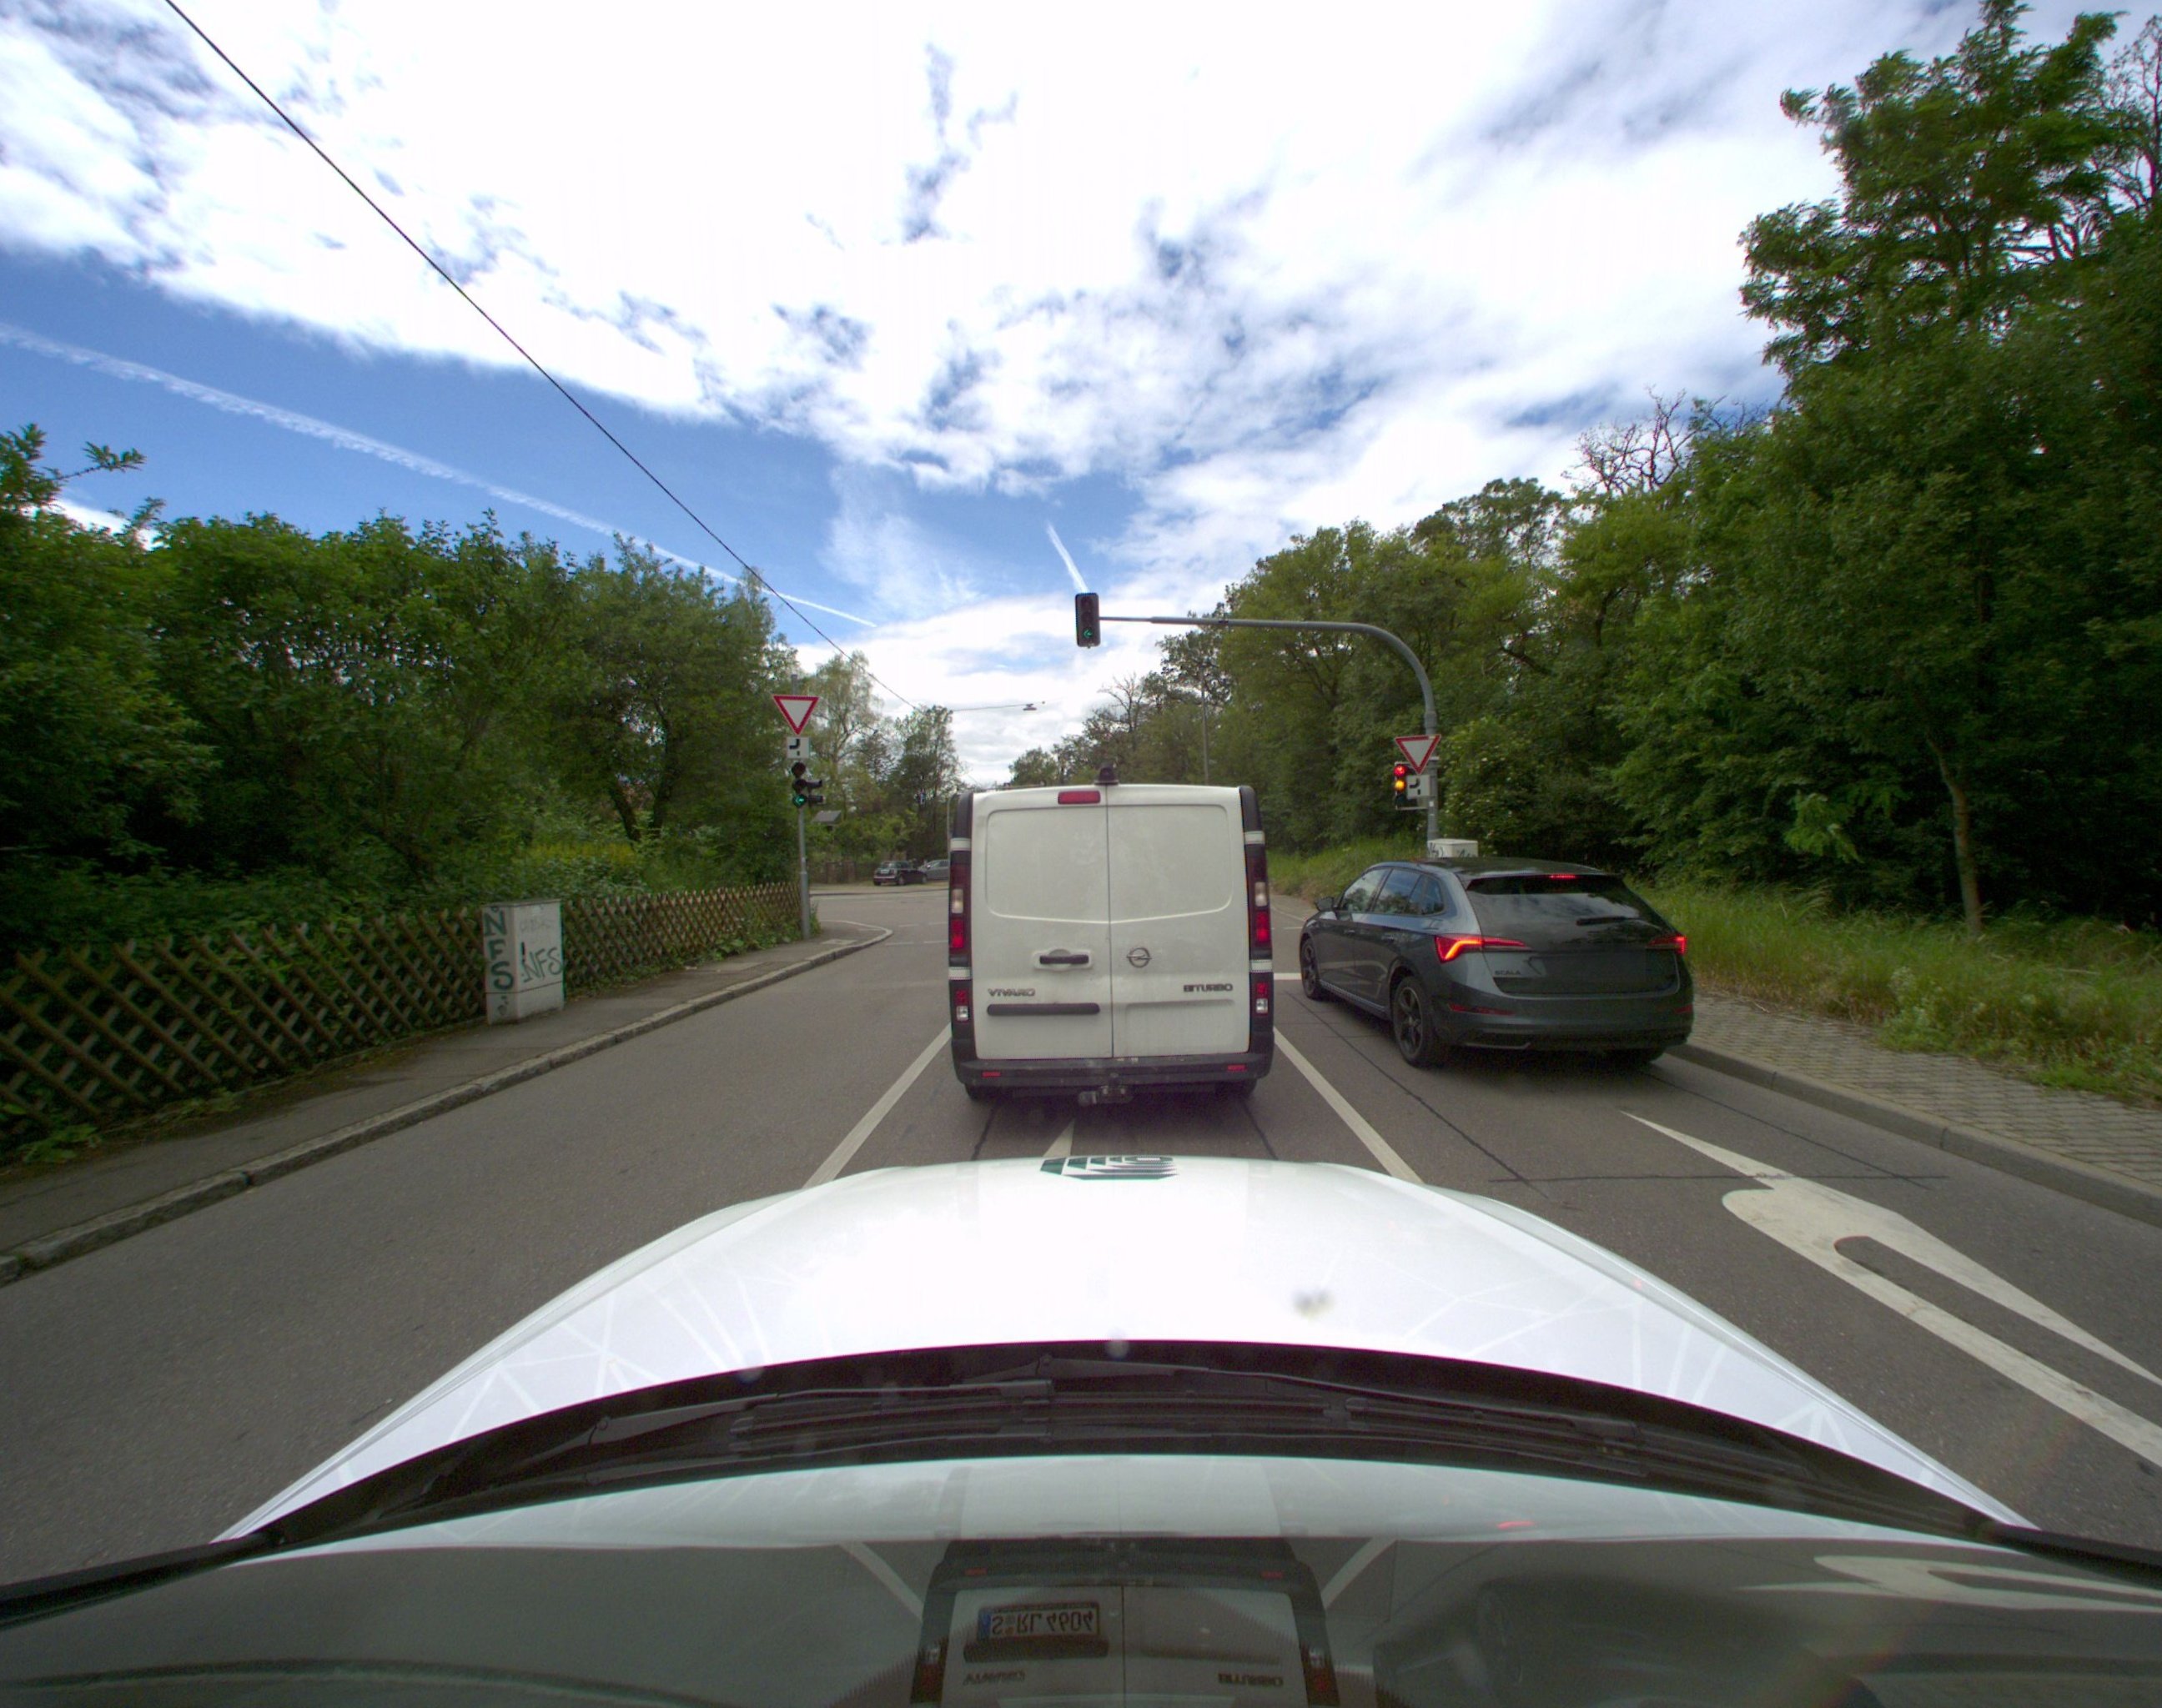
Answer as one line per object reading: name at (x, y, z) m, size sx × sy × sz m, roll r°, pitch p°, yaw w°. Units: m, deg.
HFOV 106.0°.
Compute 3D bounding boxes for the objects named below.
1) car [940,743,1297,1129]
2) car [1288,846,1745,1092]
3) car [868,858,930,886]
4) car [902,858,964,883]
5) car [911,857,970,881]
car at (0.195, 0.433, 6.661) m, size 1.910 × 2.053 × 4.613 m, roll 0°, pitch 0°, yaw 0°
car at (3.161, 0.694, 6.958) m, size 1.786 × 1.450 × 4.000 m, roll -1°, pitch 0°, yaw 1°
car at (-10.260, 0.985, 46.174) m, size 1.683 × 1.449 × 3.562 m, roll 1°, pitch 0°, yaw 22°
car at (-10.282, 1.124, 56.419) m, size 4.094 × 1.553 × 1.845 m, roll -2°, pitch 1°, yaw -16°
car at (-10.282, 1.091, 59.594) m, size 4.094 × 1.553 × 1.845 m, roll -2°, pitch 1°, yaw -16°
